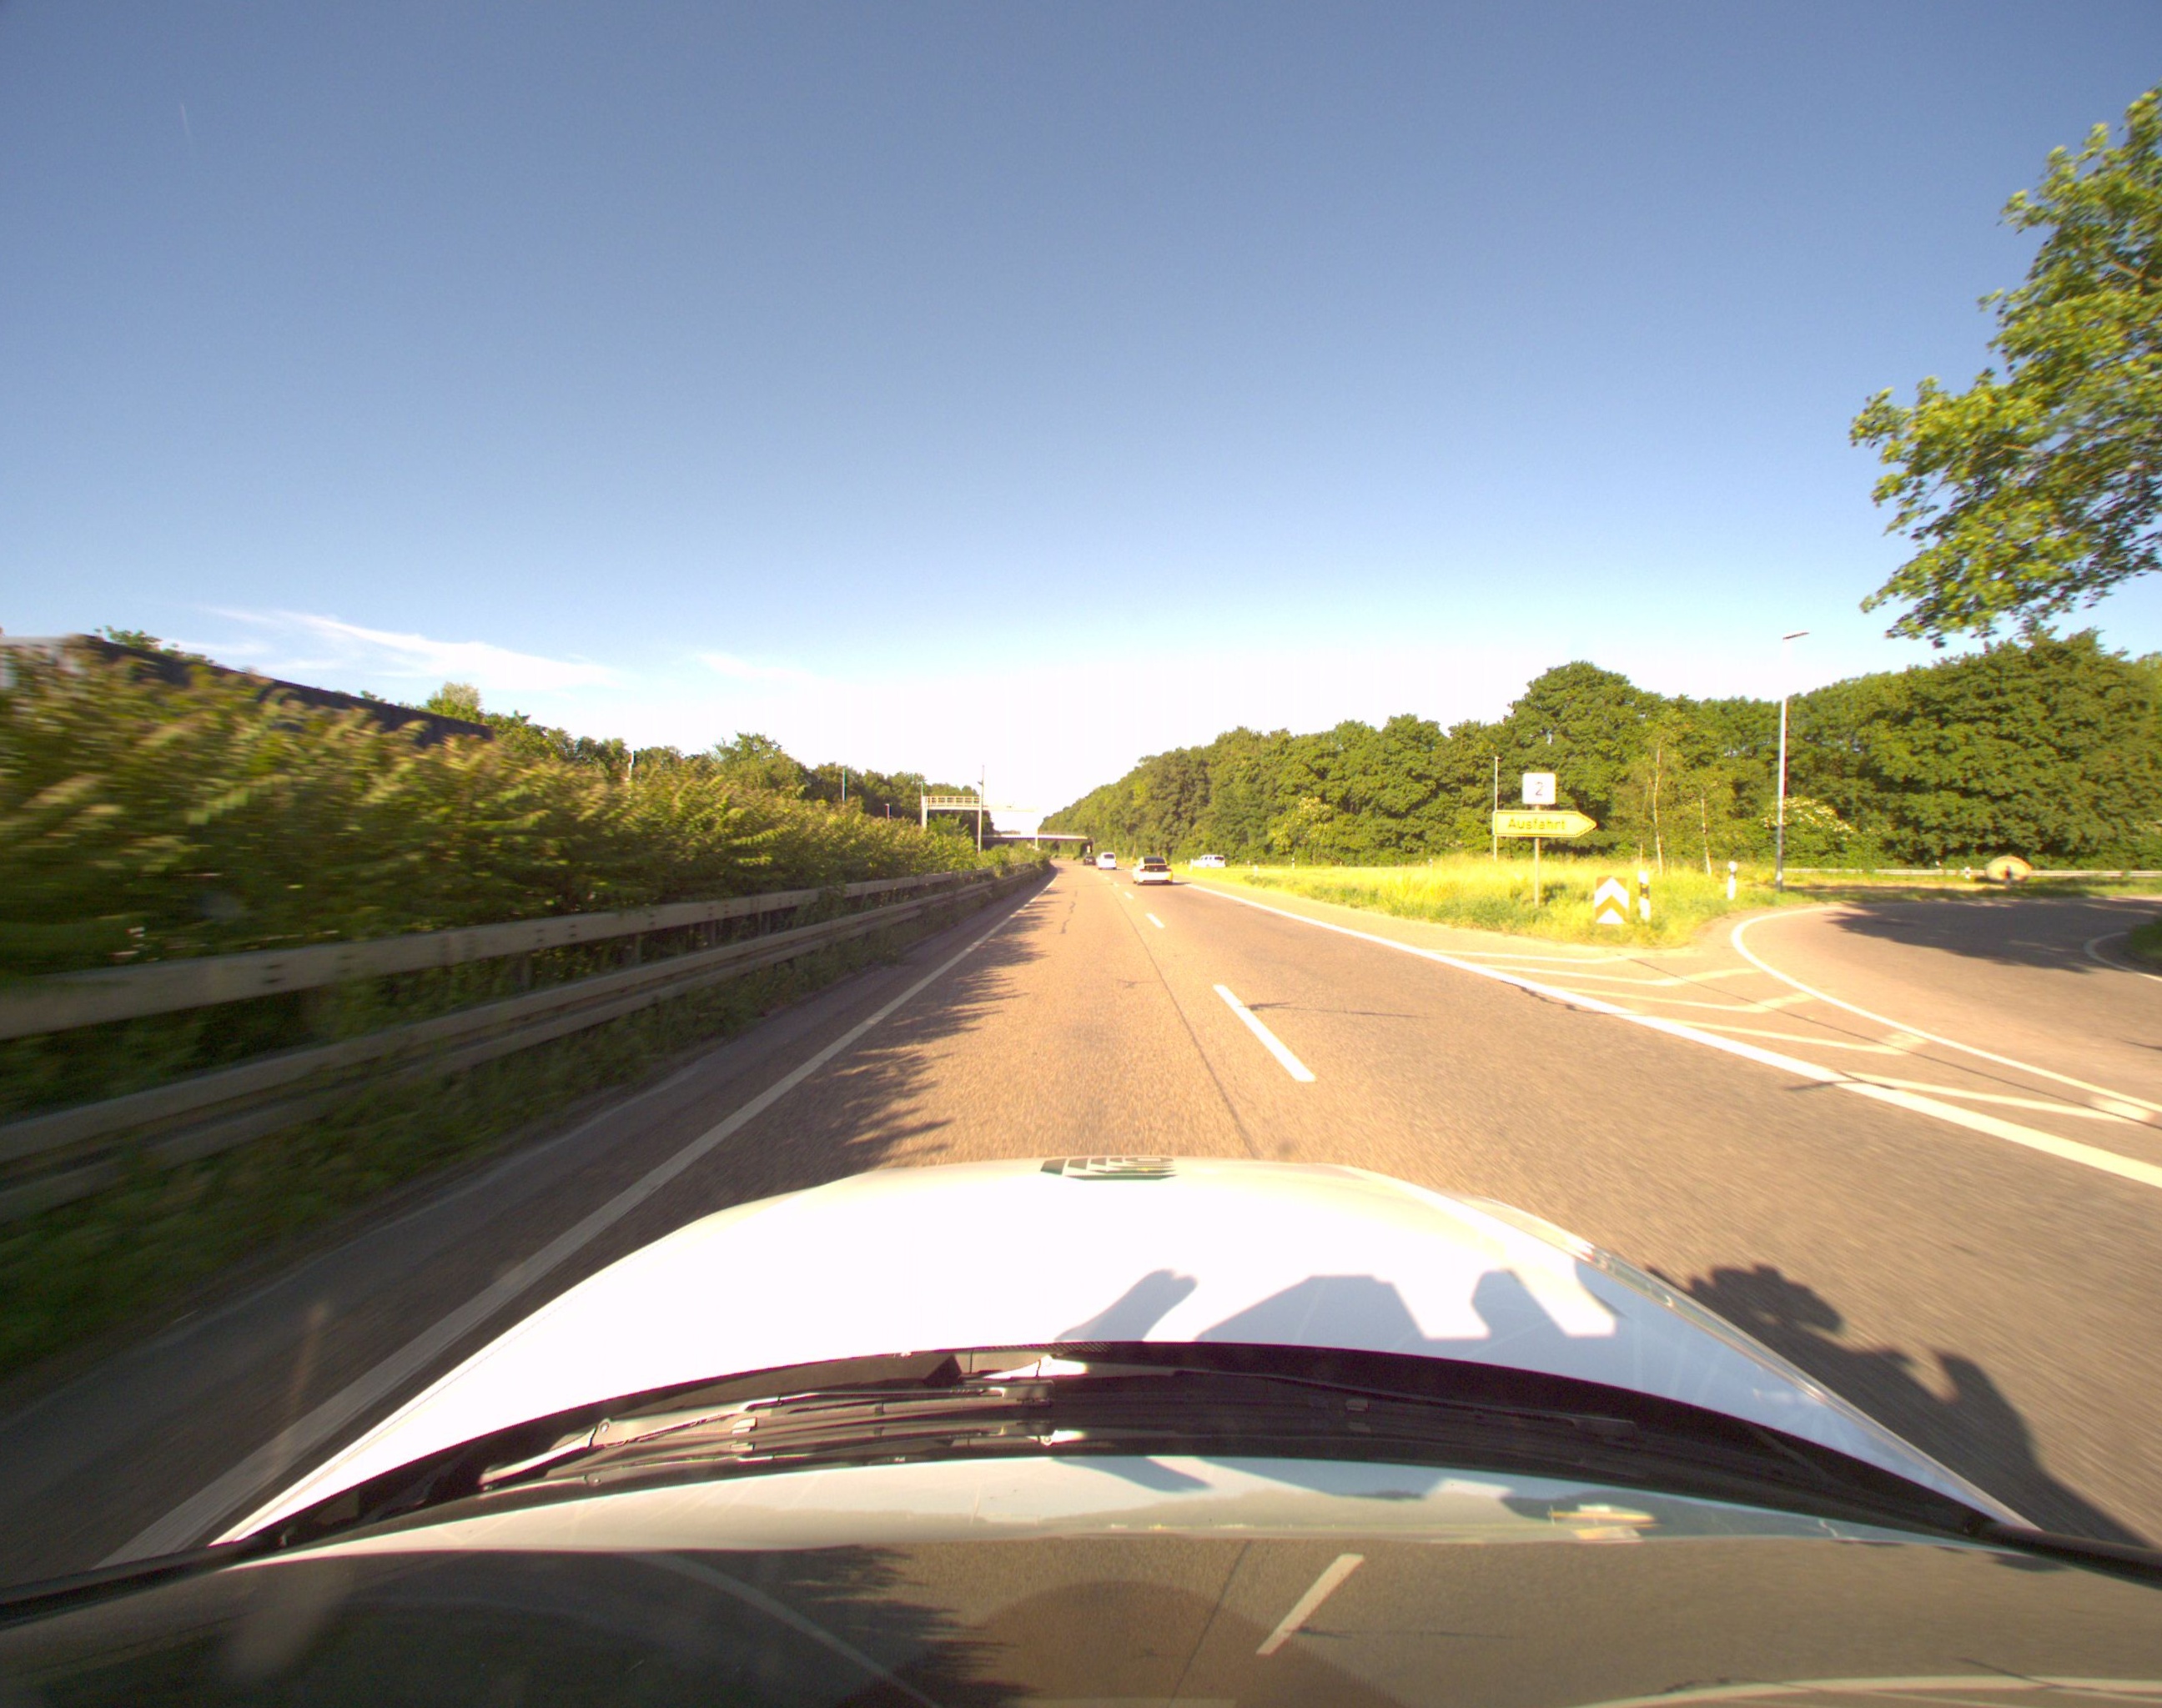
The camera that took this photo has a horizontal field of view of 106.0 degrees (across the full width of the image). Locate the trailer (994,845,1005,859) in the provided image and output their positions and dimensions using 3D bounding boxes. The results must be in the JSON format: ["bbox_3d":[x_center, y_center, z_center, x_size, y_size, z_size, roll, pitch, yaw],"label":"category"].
[{"bbox_3d":[-24.270,-0.626,243.447,2.733,4.027,14.052,1,0,-4],"label":"trailer"}]

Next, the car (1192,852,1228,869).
[{"bbox_3d":[14.057,0.676,88.636,1.907,1.824,3.965,-1,0,-27],"label":"car"}]

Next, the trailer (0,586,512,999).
[{"bbox_3d":[-12.057,-0.627,9.796,2.639,4.123,10.703,0,0,2],"label":"trailer"}]

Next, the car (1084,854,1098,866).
[{"bbox_3d":[1.481,0.845,120.672,1.891,1.767,4.000,-1,0,0],"label":"car"}]

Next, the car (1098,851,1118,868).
[{"bbox_3d":[2.850,0.639,86.015,1.892,1.767,3.996,0,-1,-2],"label":"car"}]

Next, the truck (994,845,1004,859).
[{"bbox_3d":[-23.743,-0.628,236.658,2.733,4.027,6.170,1,0,-4],"label":"truck"}]

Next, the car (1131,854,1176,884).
[{"bbox_3d":[3.724,0.760,42.371,1.892,1.471,3.998,-1,0,-1],"label":"car"}]
